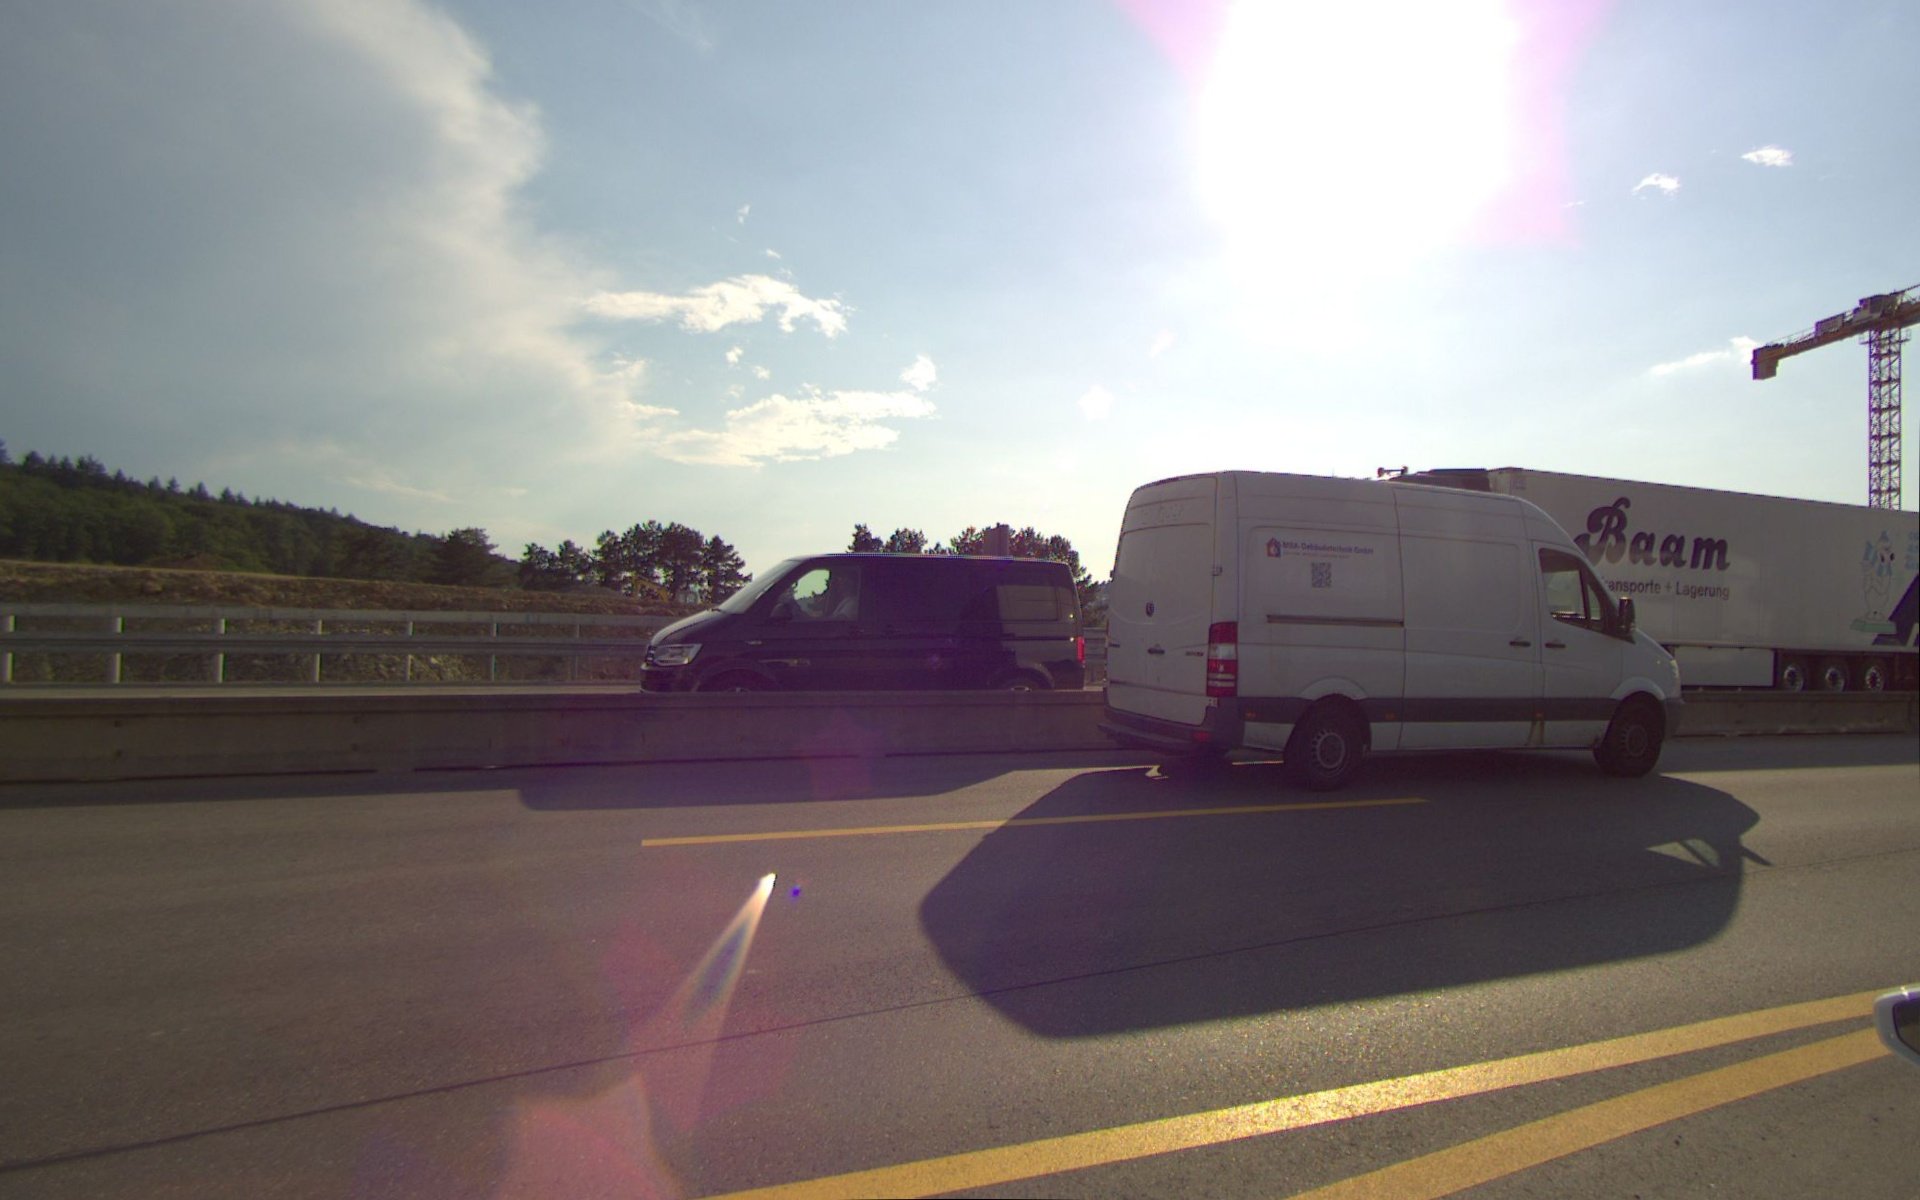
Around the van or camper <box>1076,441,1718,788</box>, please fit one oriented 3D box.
[{"bbox_3d":[4.198,0.229,9.611,5.814,2.654,1.991,2,-1,-20],"label":"van or camper"}]

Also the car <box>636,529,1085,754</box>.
[{"bbox_3d":[-1.074,0.496,10.908,4.431,2.040,1.989,3,-3,-24],"label":"car"}]

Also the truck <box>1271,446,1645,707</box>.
[{"bbox_3d":[8.972,-0.227,18.137,6.036,4.119,2.625,2,-2,-20],"label":"truck"}]

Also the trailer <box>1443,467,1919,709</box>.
[{"bbox_3d":[16.410,0.088,20.805,13.865,4.119,2.625,2,-2,-20],"label":"trailer"}]
